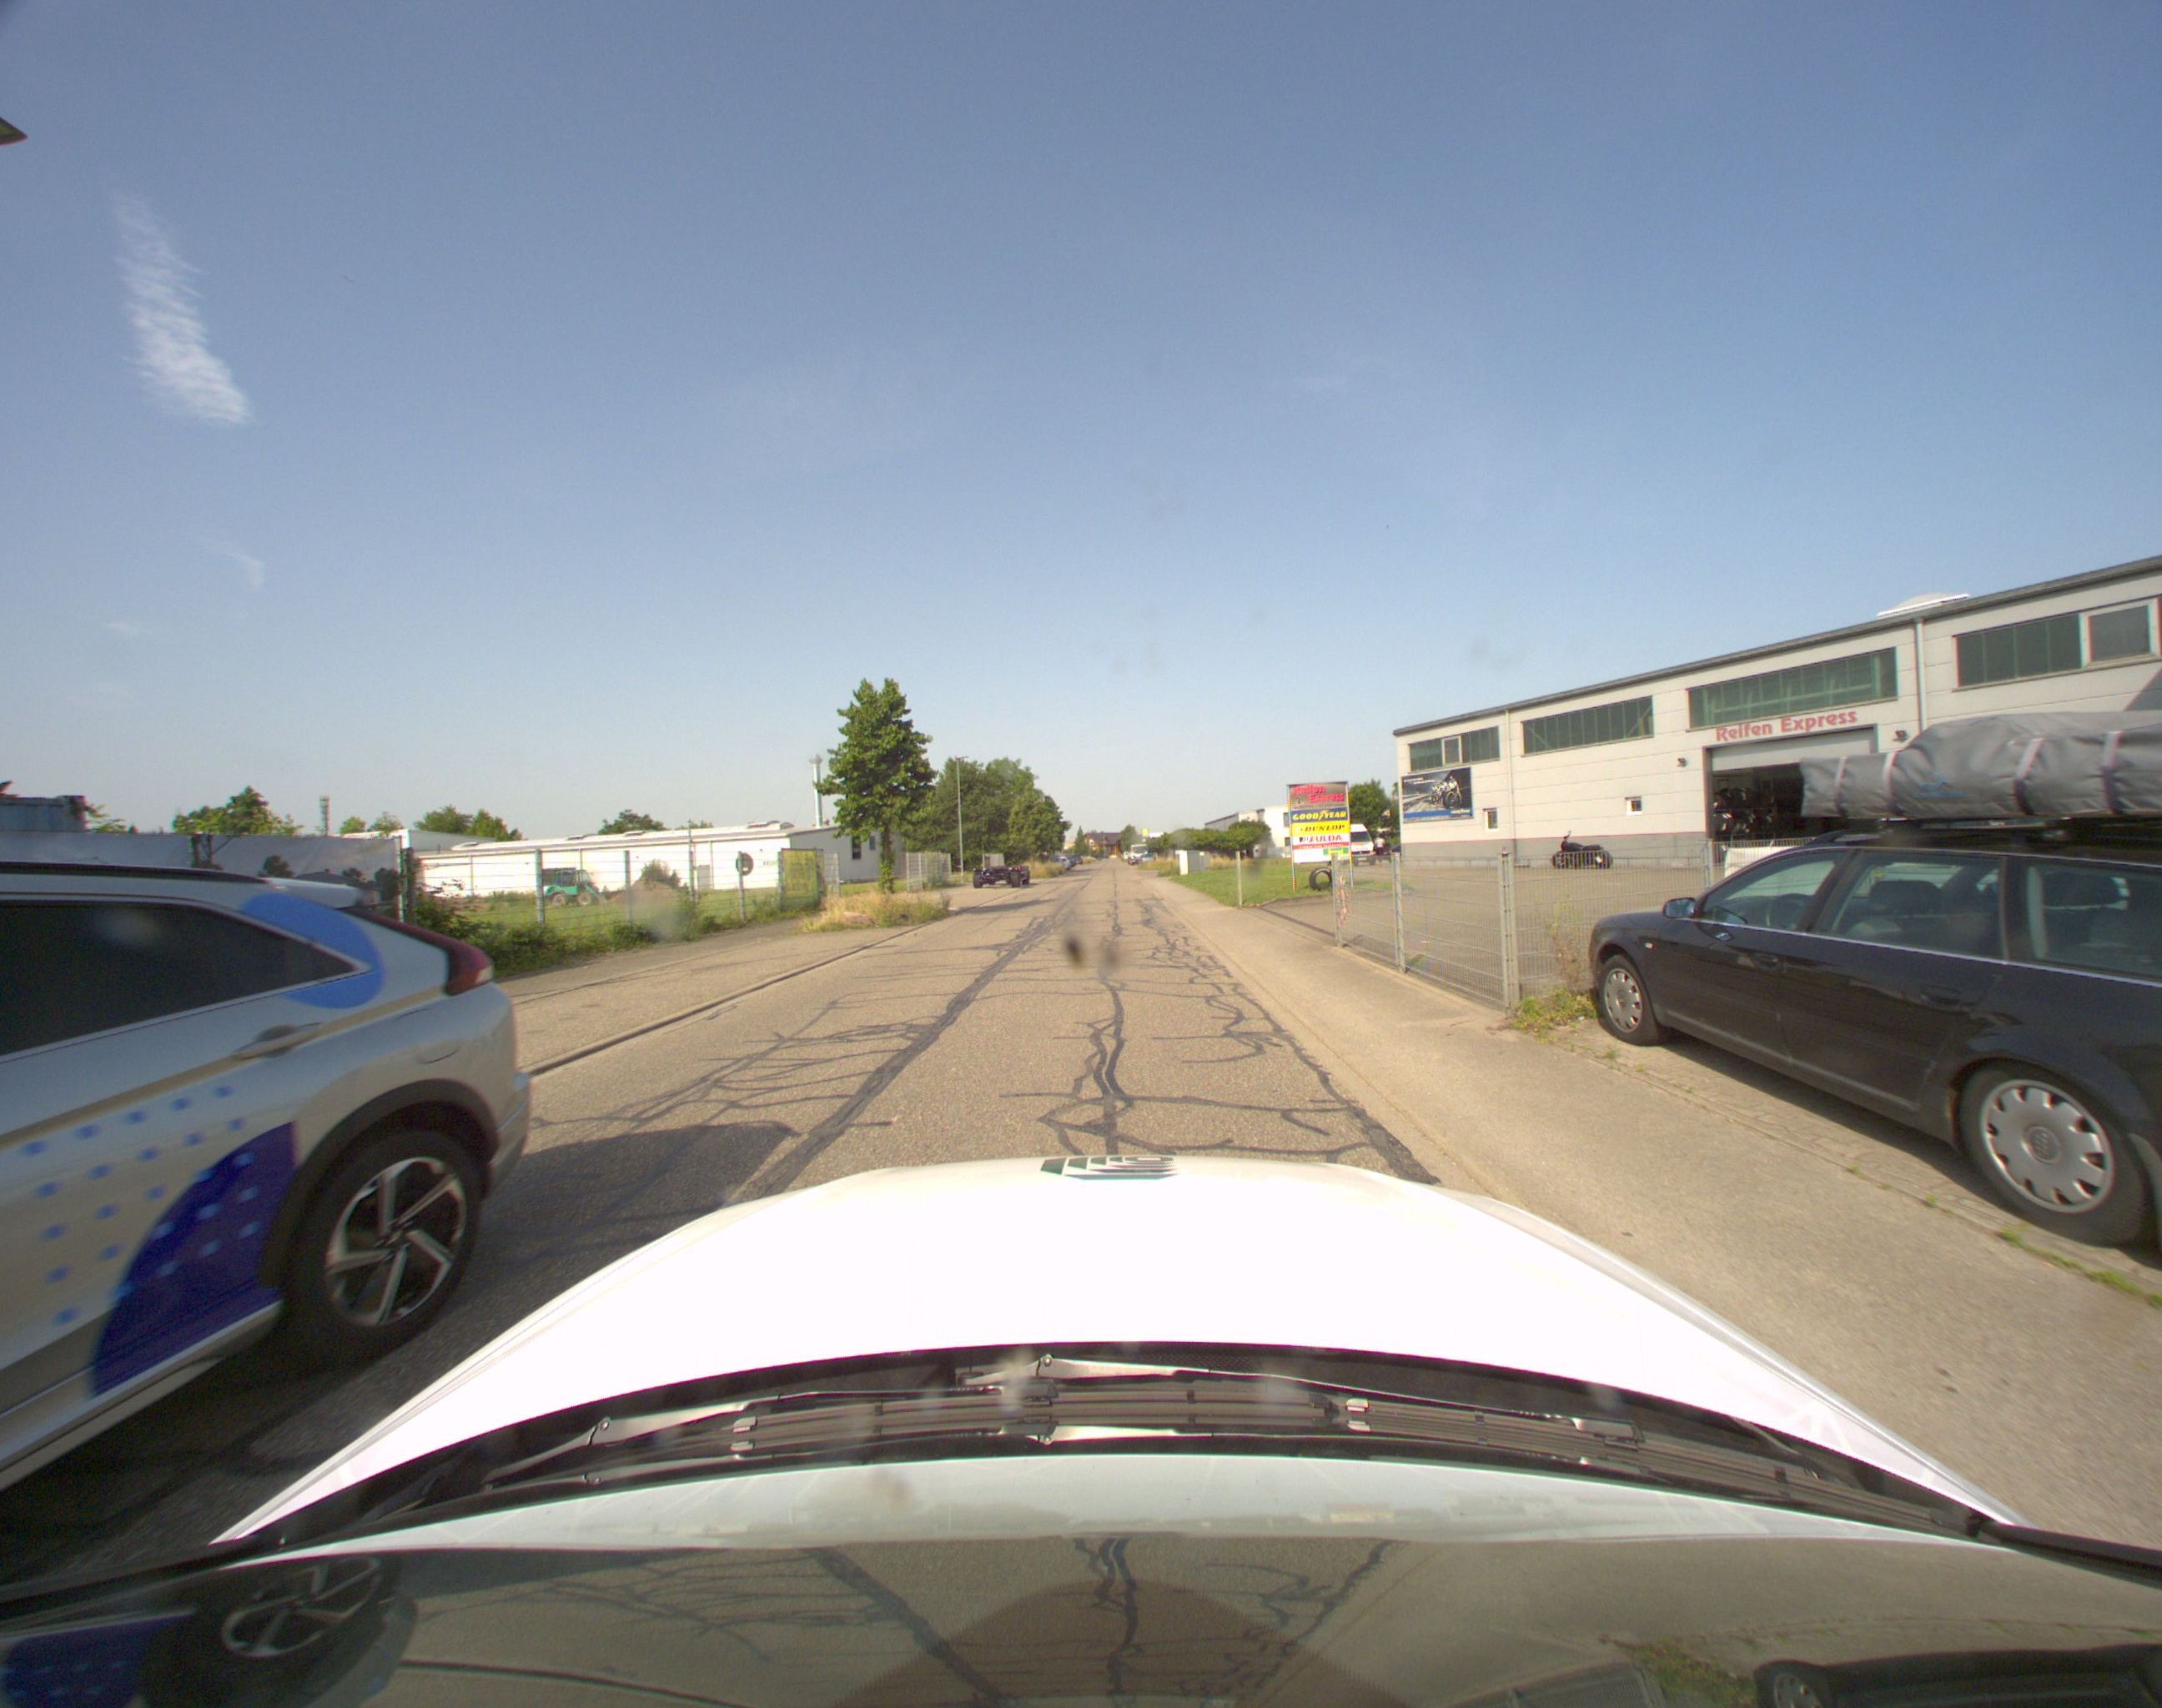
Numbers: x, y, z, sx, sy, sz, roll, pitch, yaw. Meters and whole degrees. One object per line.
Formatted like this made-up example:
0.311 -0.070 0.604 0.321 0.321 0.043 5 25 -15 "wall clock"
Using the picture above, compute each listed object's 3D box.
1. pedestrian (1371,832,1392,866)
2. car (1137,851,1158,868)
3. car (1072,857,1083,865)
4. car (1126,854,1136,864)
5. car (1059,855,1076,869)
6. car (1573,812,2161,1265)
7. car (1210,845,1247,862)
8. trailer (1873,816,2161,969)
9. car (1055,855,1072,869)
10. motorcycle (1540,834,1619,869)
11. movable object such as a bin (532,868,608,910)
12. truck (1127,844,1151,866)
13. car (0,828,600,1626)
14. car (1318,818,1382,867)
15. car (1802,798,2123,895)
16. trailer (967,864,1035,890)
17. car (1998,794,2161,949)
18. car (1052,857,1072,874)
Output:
14.586 -0.242 39.521 0.695 1.640 0.754 -3 0 33 "pedestrian"
6.639 0.556 81.834 1.787 1.517 4.426 -3 0 2 "car"
-0.573 1.158 141.440 1.793 1.386 3.639 -1 0 2 "car"
10.285 0.972 167.823 1.830 1.924 3.758 -4 0 2 "car"
-1.770 1.016 108.197 1.848 1.714 4.230 -4 0 3 "car"
4.267 0.524 3.812 1.665 1.368 4.402 -3 0 7 "car"
16.910 -0.068 93.404 4.559 1.589 1.667 -3 0 -43 "car"
9.352 0.306 7.250 1.497 1.248 2.954 -1 0 -24 "trailer"
-1.983 0.900 92.614 1.677 1.469 4.256 -1 0 2 "car"
16.621 -0.070 27.219 0.804 1.094 2.186 -3 0 -22 "motorcycle"
-33.732 2.315 53.766 4.251 2.456 2.266 -3 0 28 "movable object such as a bin"
7.445 0.157 105.483 2.352 2.681 6.507 -3 0 -1 "truck"
-3.146 0.808 1.513 1.805 1.627 4.251 -3 0 2 "car"
16.005 -0.656 48.753 1.967 2.705 5.883 -3 0 2 "car"
16.451 -0.119 15.477 1.639 1.568 3.781 -3 0 -19 "car"
-4.294 1.227 45.730 2.572 1.184 9.367 -1 0 2 "trailer"
11.352 0.111 6.908 1.646 1.466 4.428 -3 0 -22 "car"
-1.885 1.160 83.058 1.559 1.538 3.693 -3 0 5 "car"
